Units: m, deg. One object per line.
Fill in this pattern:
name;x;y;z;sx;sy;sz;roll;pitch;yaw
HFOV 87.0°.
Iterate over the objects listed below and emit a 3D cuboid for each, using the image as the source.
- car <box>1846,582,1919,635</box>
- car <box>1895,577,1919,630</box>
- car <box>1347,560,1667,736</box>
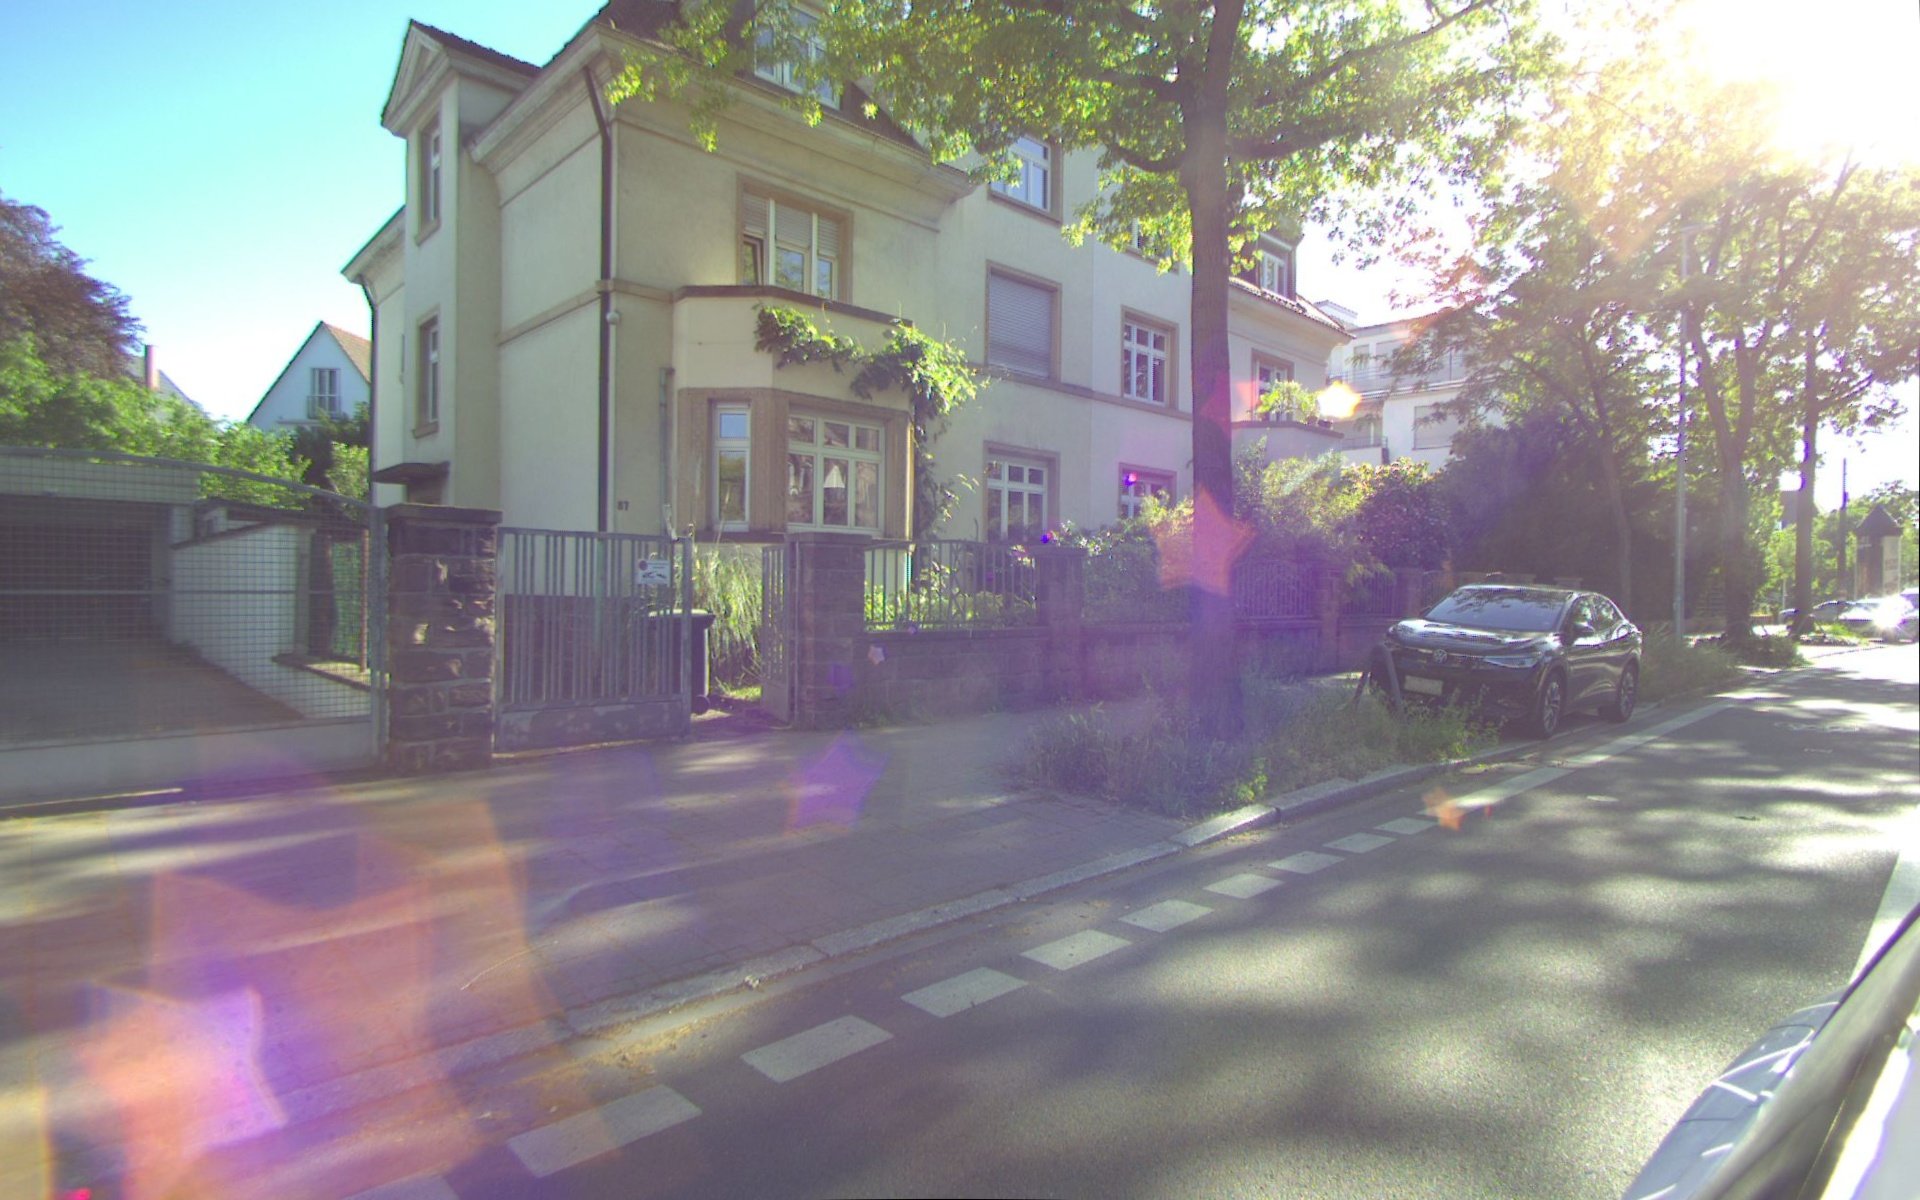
car;31.608;0.257;34.172;3.927;1.660;1.824;0;1;-38
car;36.765;0.135;37.872;4.663;1.919;2.128;0;1;-41
car;6.699;0.481;12.194;4.304;1.695;1.997;1;2;-42
